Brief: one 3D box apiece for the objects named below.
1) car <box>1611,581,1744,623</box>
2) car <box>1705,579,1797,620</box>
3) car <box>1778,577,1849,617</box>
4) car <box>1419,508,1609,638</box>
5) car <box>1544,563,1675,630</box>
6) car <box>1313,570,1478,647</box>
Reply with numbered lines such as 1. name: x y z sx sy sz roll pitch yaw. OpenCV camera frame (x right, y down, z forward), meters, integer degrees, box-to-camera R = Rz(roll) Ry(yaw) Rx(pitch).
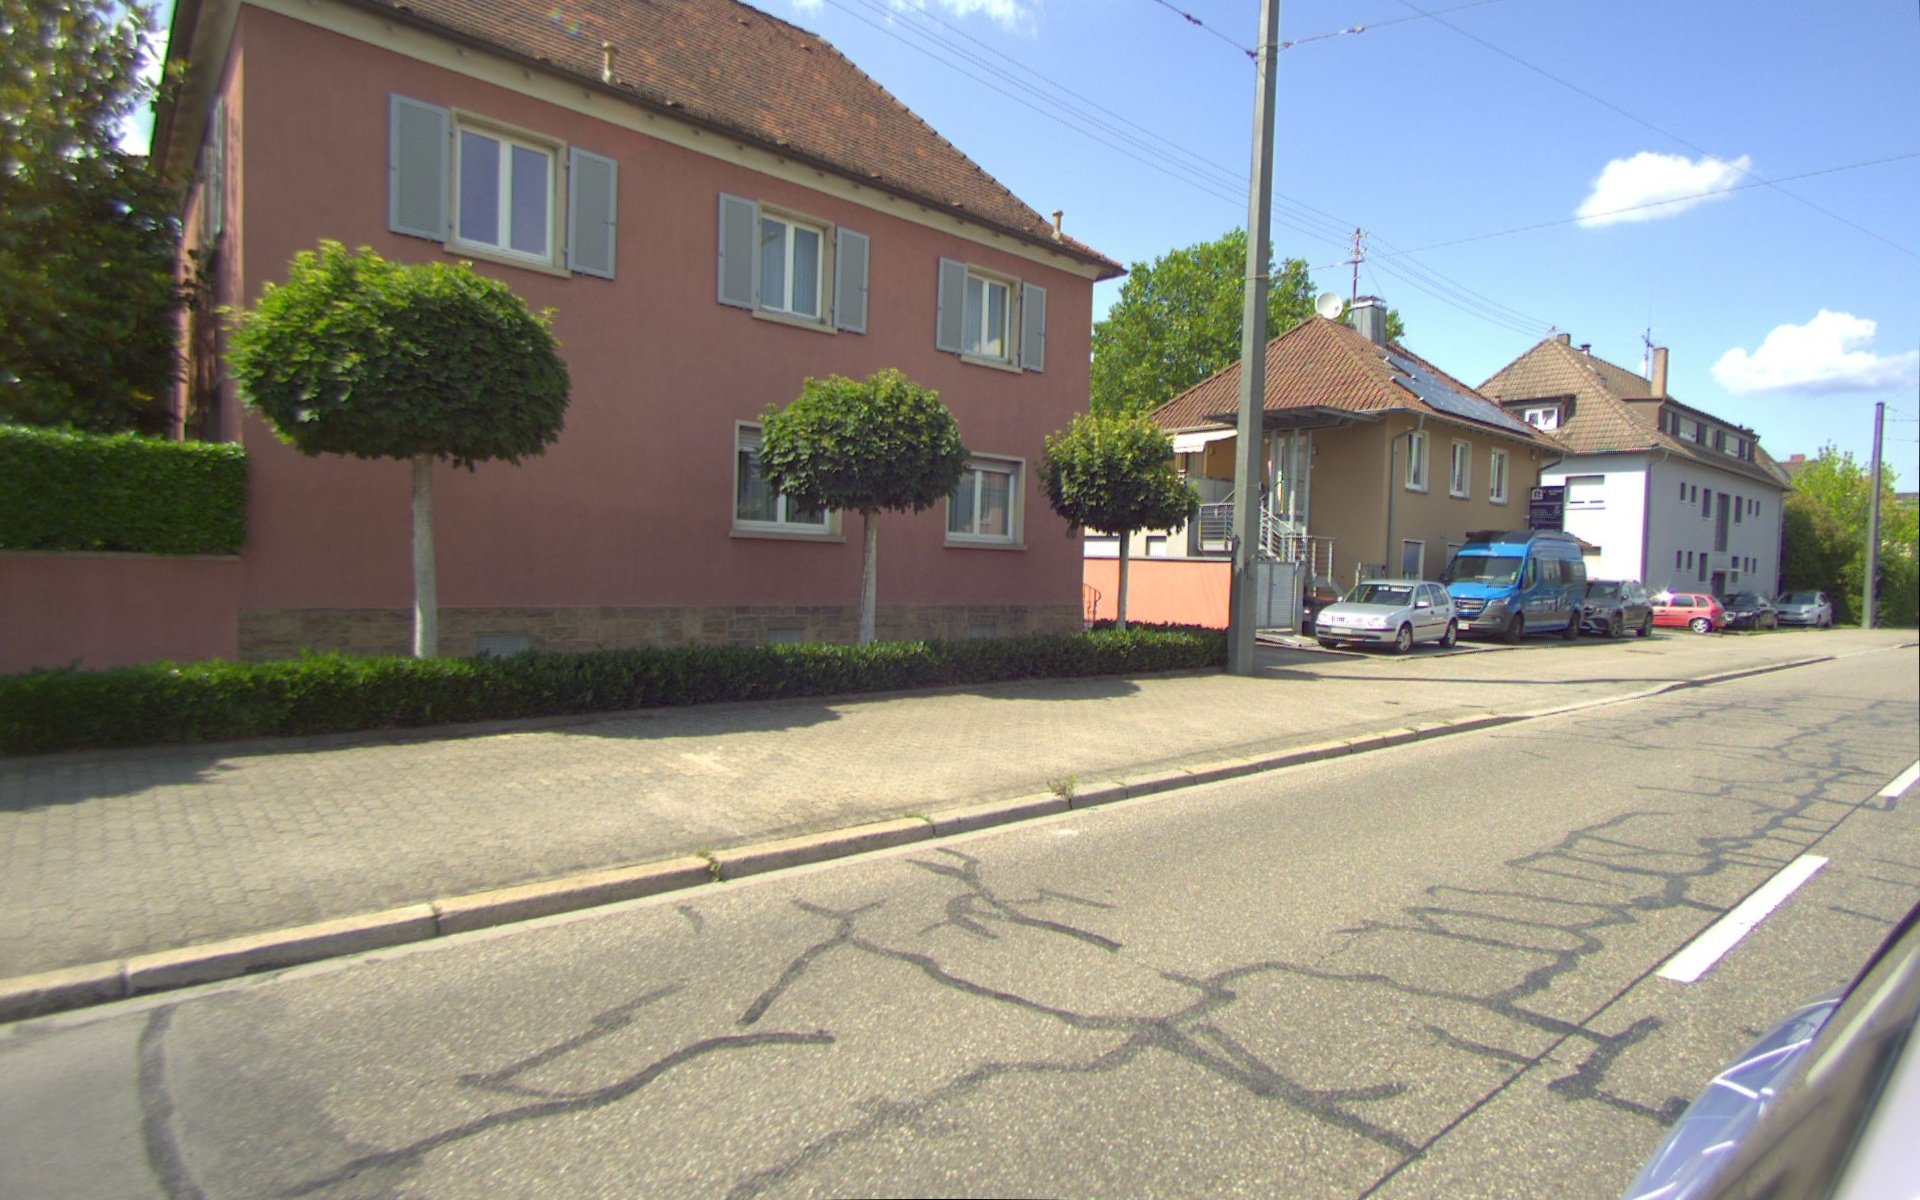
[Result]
1. car: 26.056 0.025 36.842 1.697 1.397 3.656 -1 2 -41
2. car: 31.058 -0.058 39.680 4.771 1.441 1.803 0 3 -40
3. car: 38.675 -0.183 45.821 4.687 1.667 1.760 -1 3 -42
4. car: 14.192 -0.670 25.732 6.133 2.967 2.156 -1 1 -40
5. car: 19.005 -0.124 29.538 4.778 1.732 1.841 0 4 -41
6. car: 9.179 0.110 21.158 4.279 1.426 1.651 -1 3 -44
